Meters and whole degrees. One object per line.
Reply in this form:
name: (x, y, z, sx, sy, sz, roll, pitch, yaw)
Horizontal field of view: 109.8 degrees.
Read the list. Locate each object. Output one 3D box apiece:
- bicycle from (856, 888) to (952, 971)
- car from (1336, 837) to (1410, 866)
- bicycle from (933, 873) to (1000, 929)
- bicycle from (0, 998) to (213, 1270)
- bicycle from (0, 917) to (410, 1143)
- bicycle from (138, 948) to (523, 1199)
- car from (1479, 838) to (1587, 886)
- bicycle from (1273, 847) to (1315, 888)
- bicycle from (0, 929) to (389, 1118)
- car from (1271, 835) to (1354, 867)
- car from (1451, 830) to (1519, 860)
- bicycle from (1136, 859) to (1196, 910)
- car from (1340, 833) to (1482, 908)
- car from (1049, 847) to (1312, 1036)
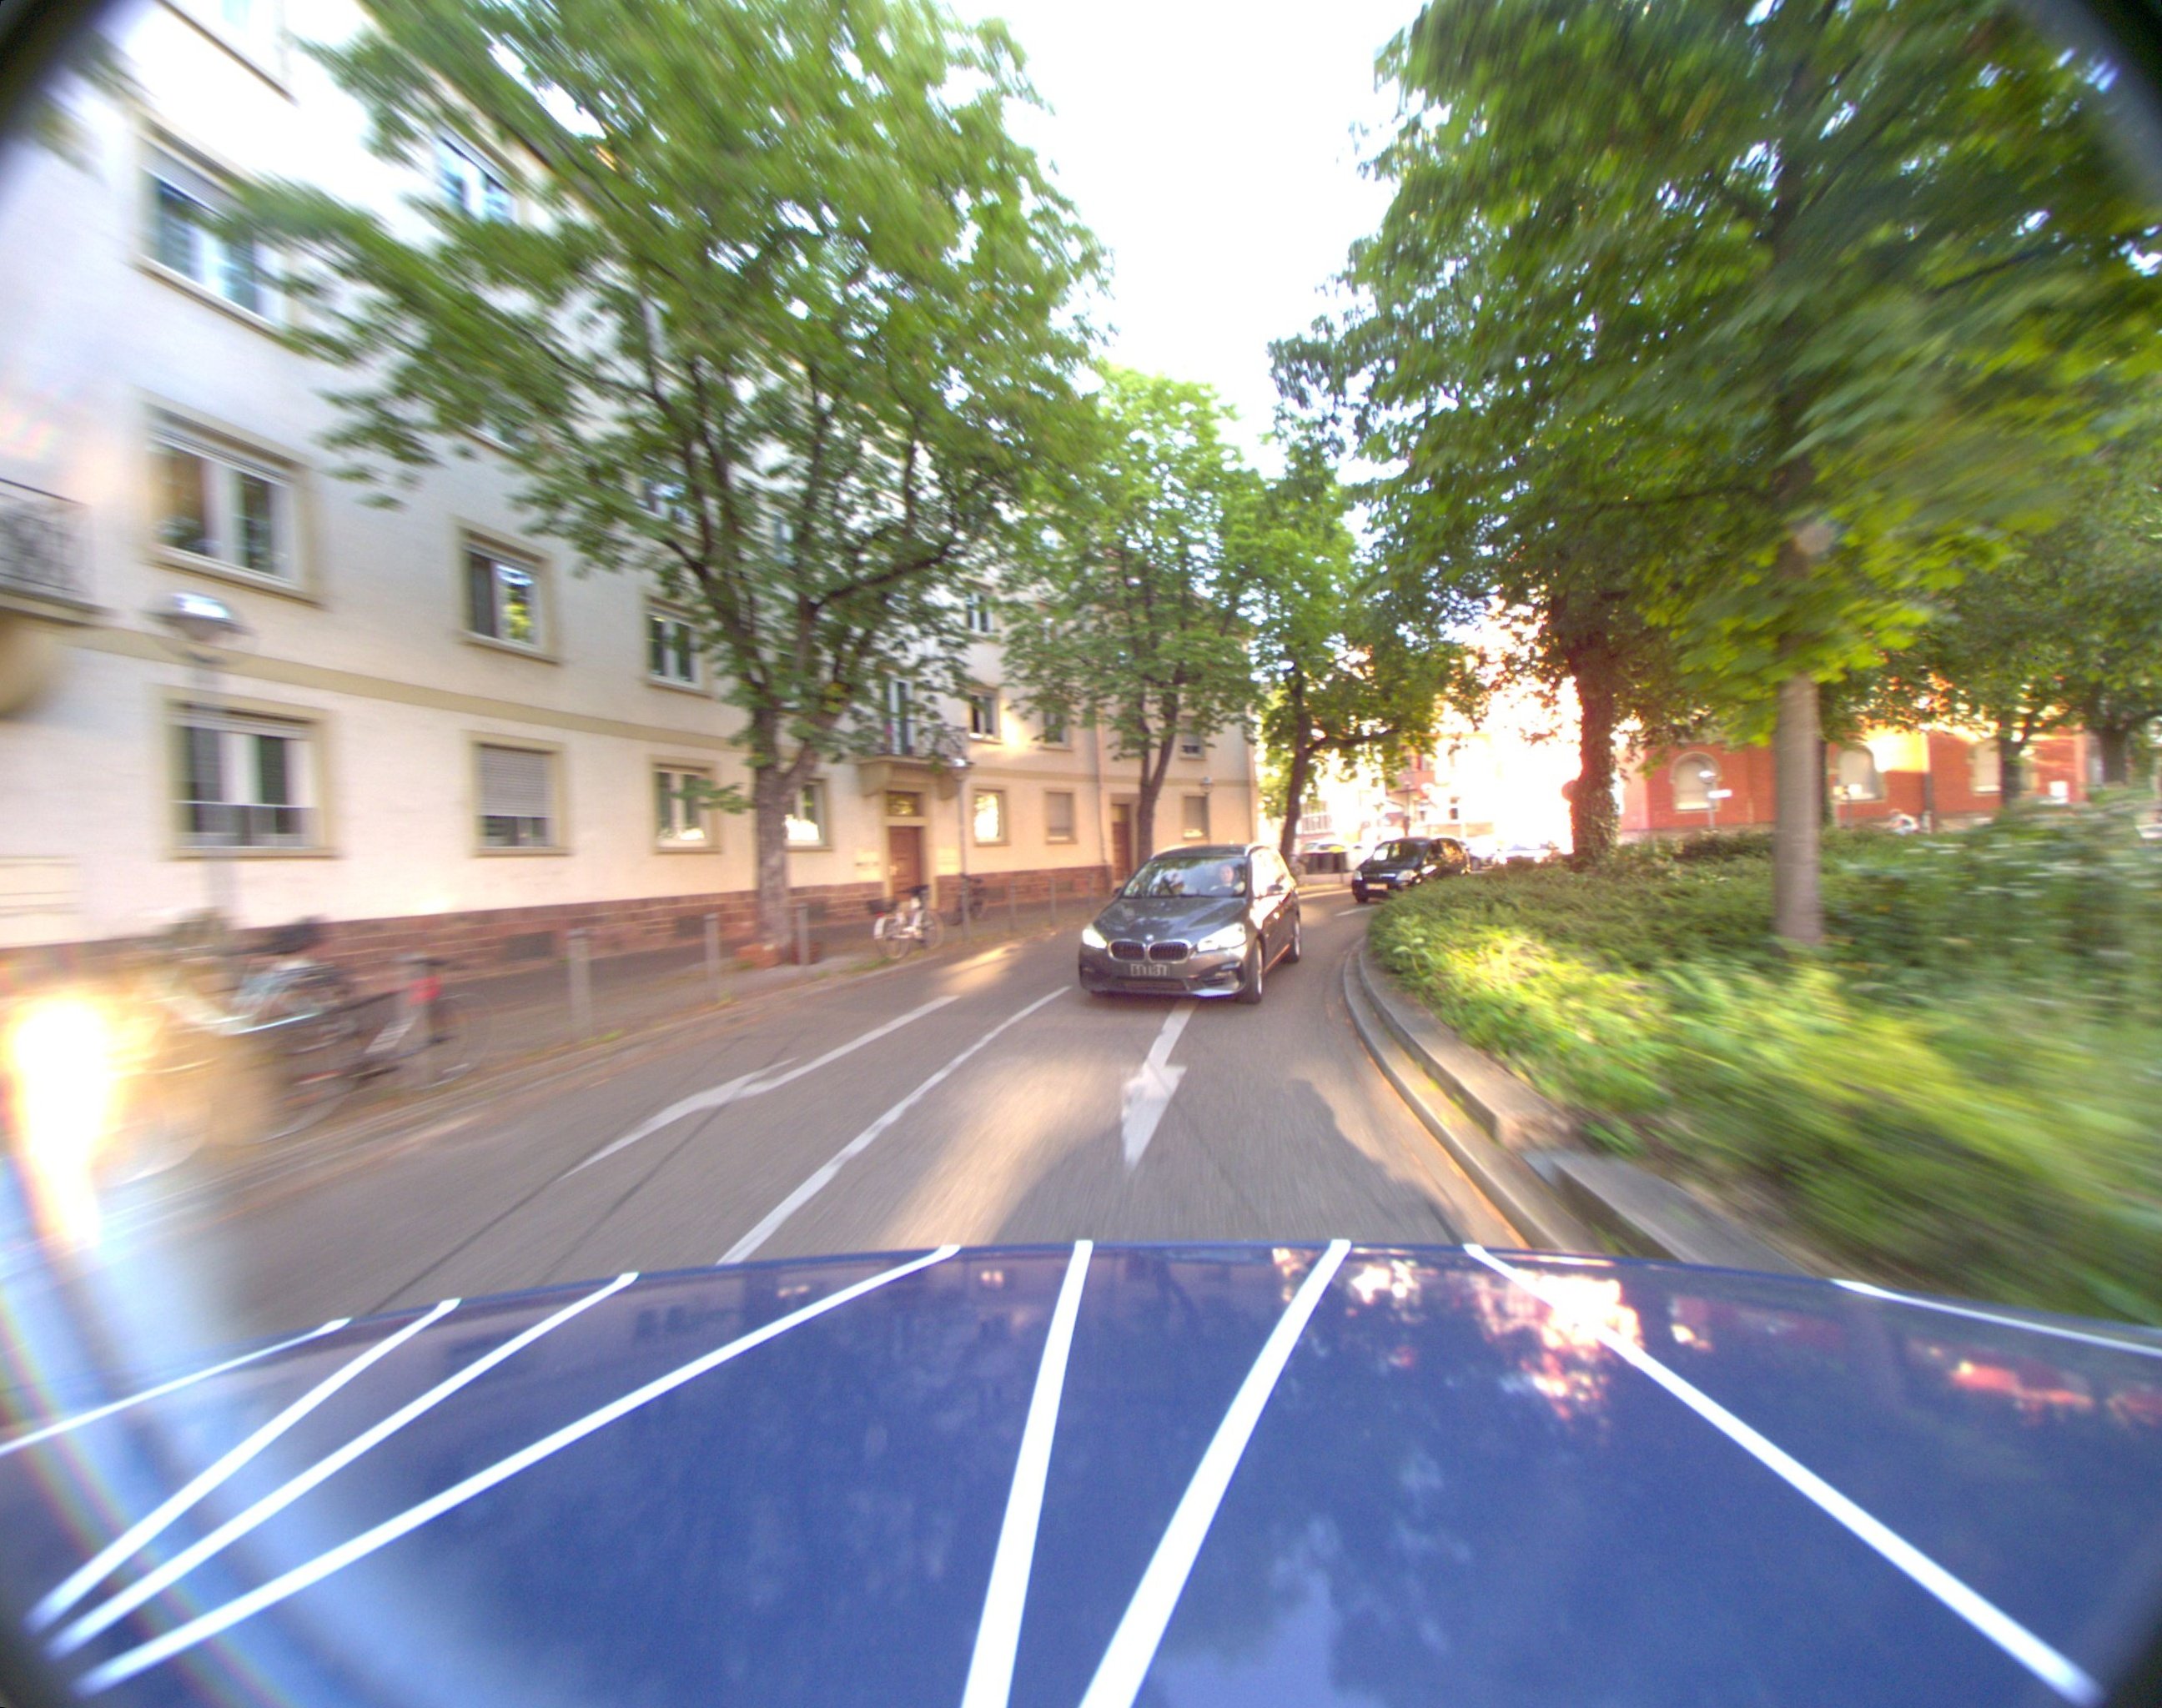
bicycle: (-2.780, 1.159, 12.179, 0.513, 1.089, 1.976, -1, 1, 18)
car: (16.678, -0.113, 43.644, 1.807, 1.543, 4.181, -3, 0, -15)
bicycle: (-2.553, 1.041, 17.207, 0.801, 1.112, 1.860, -3, 0, 14)
bicycle: (-5.049, 1.312, 3.290, 0.481, 1.057, 1.637, 0, 0, 16)
bicycle: (-6.612, 1.215, 5.906, 0.718, 1.270, 1.969, -1, 1, 17)
bicycle: (-4.677, 1.279, 4.938, 0.526, 1.101, 1.742, 0, 0, 14)
car: (15.180, 0.225, 25.459, 3.694, 1.400, 1.676, -3, 1, -34)
bicycle: (7.372, 0.454, 26.227, 0.766, 1.297, 1.906, -2, 1, 35)
bicycle: (-7.180, 1.291, 6.330, 0.668, 1.101, 1.969, -3, 0, 19)
car: (12.177, -0.150, 39.972, 3.806, 1.417, 1.674, -3, 0, -17)
car: (22.202, -0.486, 41.895, 1.493, 1.531, 3.211, -2, 1, -15)
bicycle: (2.292, 0.795, 20.263, 0.718, 1.216, 1.918, -2, 1, 35)
car: (8.316, 0.347, 19.064, 3.694, 1.619, 1.676, -3, 1, -38)
car: (1.440, 0.783, 8.926, 1.790, 1.569, 4.267, -2, 1, 25)
